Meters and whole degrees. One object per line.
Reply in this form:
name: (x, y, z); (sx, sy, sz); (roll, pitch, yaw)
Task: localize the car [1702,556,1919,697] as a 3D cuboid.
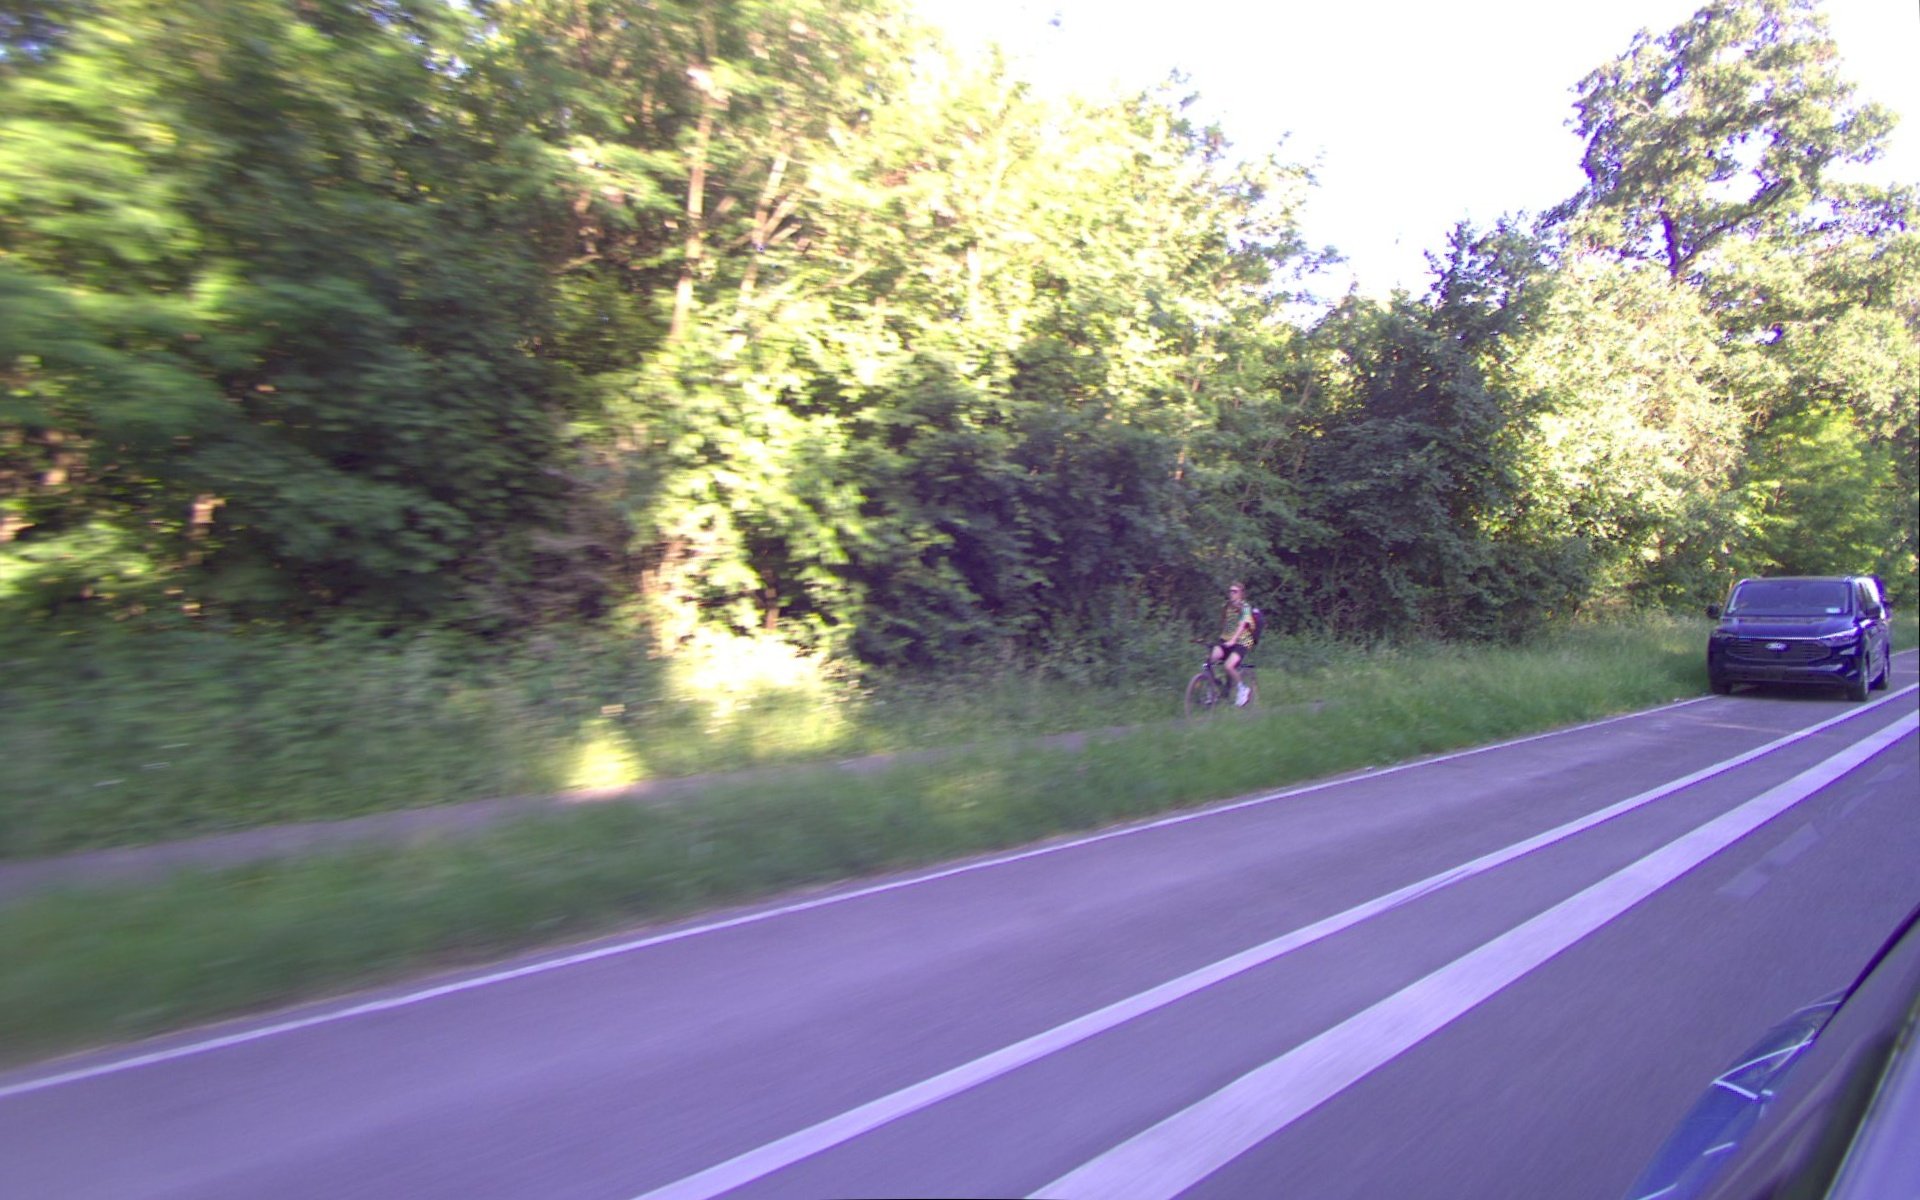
car: (14.490, 0.392, 17.055); (4.951, 2.039, 2.117); (0, -1, -41)

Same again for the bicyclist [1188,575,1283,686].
bicyclist: (3.488, 0.364, 12.798); (1.155, 1.341, 0.611); (0, 0, -41)

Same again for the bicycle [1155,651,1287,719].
bicycle: (3.316, 1.046, 12.749); (1.961, 0.701, 0.592); (0, 1, -41)
